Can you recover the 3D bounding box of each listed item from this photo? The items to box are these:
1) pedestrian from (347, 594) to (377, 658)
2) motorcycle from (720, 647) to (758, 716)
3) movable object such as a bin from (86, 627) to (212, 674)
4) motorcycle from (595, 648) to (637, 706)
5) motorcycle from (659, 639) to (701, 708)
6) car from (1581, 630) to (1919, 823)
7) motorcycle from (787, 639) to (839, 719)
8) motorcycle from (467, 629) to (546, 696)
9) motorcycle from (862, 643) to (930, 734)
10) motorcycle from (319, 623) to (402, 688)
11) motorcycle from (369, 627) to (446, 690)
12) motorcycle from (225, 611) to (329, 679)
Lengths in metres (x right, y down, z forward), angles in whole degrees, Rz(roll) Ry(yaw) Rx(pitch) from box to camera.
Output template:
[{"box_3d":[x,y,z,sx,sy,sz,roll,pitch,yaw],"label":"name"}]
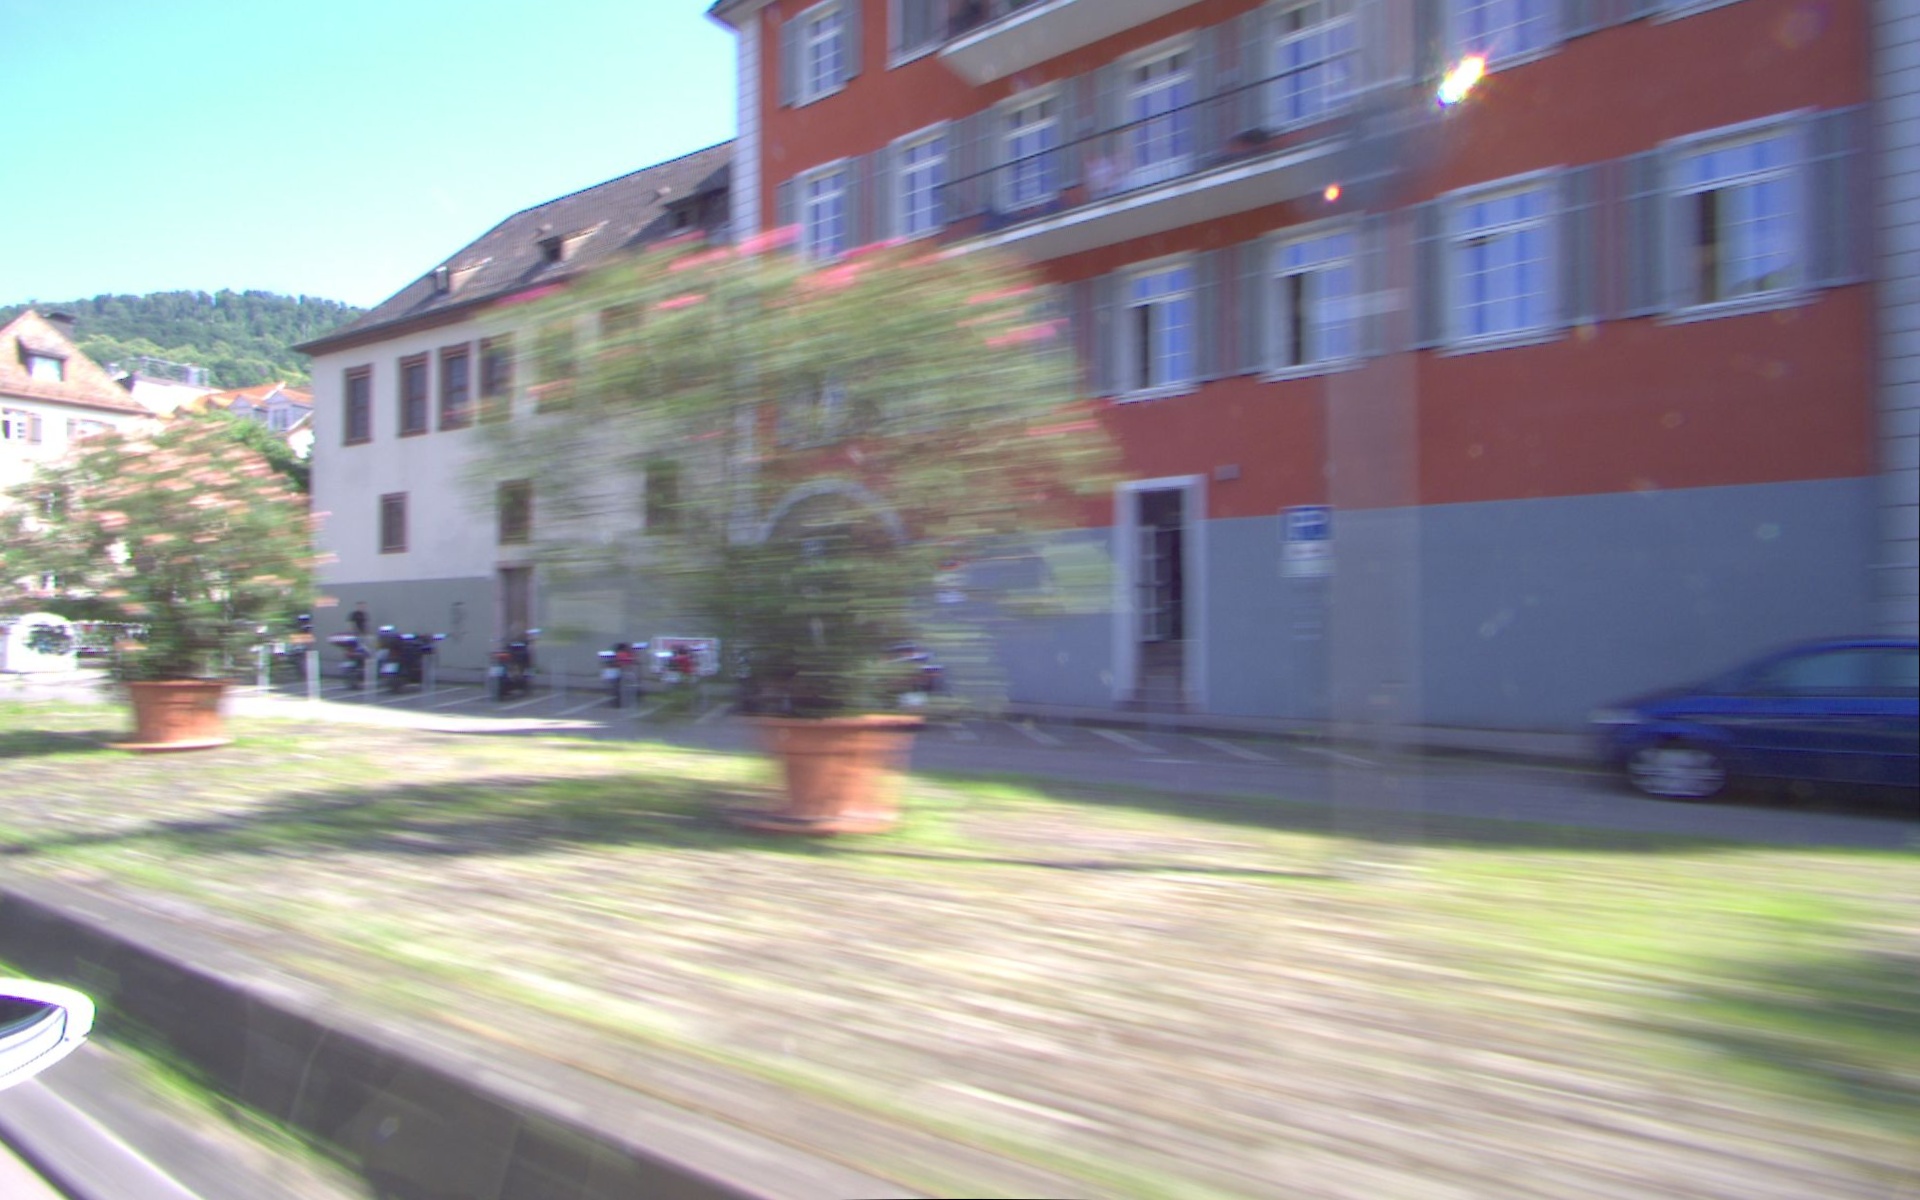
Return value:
[{"box_3d":[-17.608,0.773,29.488,0.609,1.846,0.494,-1,-1,29],"label":"pedestrian"},{"box_3d":[-3.954,1.422,17.918,0.617,1.090,2.196,0,-1,-12],"label":"motorcycle"},{"box_3d":[-20.944,1.281,25.980,1.234,1.125,2.954,1,-1,-9],"label":"movable object such as a bin"},{"box_3d":[-6.630,1.456,19.351,0.537,0.999,1.930,0,-1,-12],"label":"motorcycle"},{"box_3d":[-5.206,1.327,18.696,0.617,1.163,2.196,0,-1,-12],"label":"motorcycle"},{"box_3d":[7.970,1.067,9.103,3.767,1.562,1.664,-1,-2,41],"label":"car"},{"box_3d":[-2.549,1.320,17.260,0.826,1.249,2.152,1,-1,-9],"label":"motorcycle"},{"box_3d":[-9.235,1.235,20.499,0.768,1.283,2.183,0,-1,-4],"label":"motorcycle"},{"box_3d":[-1.061,1.349,15.871,0.826,1.249,2.542,1,-1,-9],"label":"motorcycle"},{"box_3d":[-13.458,1.212,22.568,0.616,1.269,2.235,3,1,-4],"label":"motorcycle"},{"box_3d":[-11.987,1.241,21.803,0.616,1.283,2.198,0,-1,-4],"label":"motorcycle"},{"box_3d":[-16.436,1.065,24.193,1.033,1.552,2.497,0,-1,-7],"label":"motorcycle"}]
